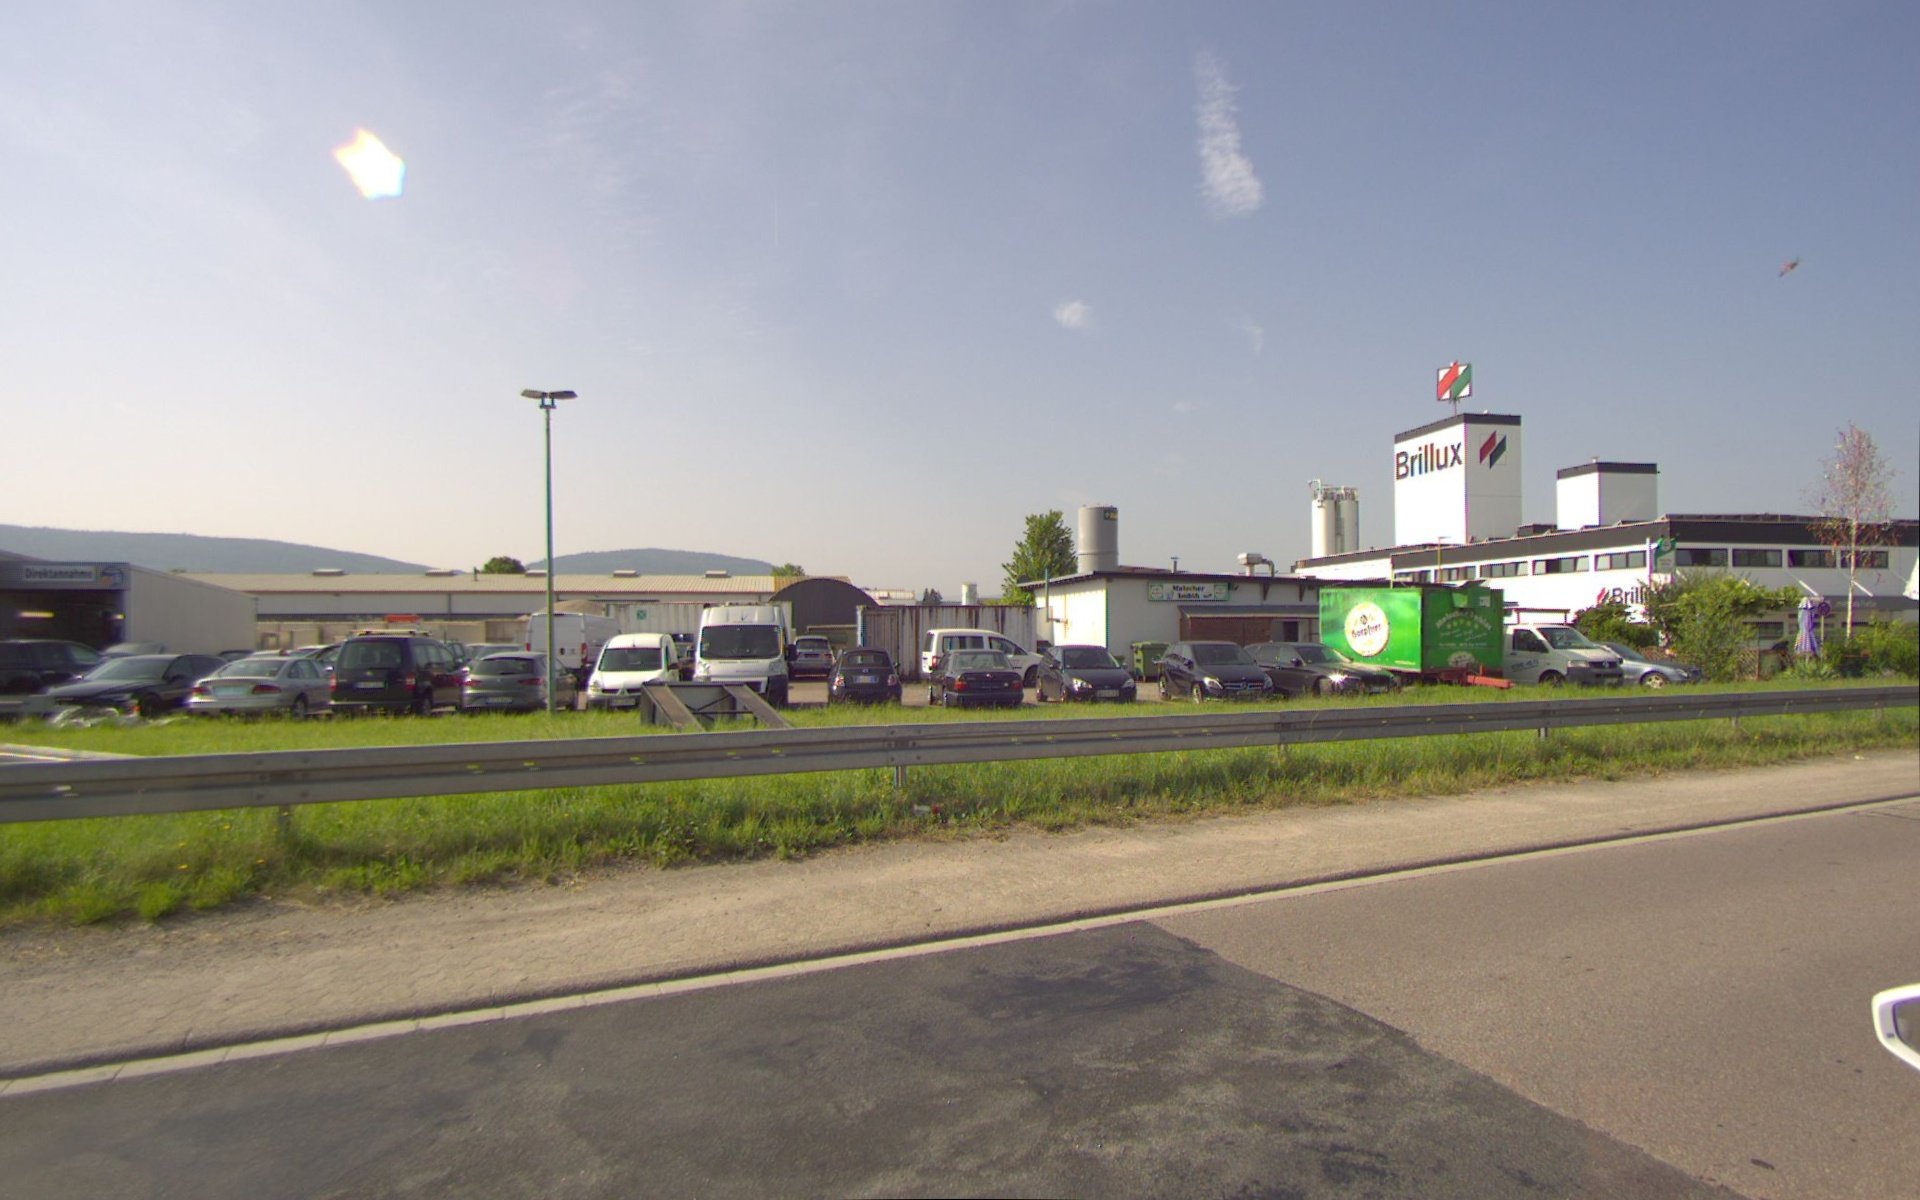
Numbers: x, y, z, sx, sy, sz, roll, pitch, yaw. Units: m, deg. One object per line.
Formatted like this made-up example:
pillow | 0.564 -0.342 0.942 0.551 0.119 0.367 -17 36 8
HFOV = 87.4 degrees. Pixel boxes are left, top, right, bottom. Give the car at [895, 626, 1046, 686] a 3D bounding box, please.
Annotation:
car | 0.292 1.762 31.857 4.447 1.699 1.996 2 0 -10

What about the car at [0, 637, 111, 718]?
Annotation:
car | -19.458 1.562 20.596 1.656 1.541 3.678 0 -3 -15

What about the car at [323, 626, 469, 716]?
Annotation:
car | -12.169 1.499 21.927 1.718 1.774 3.750 0 -3 -12

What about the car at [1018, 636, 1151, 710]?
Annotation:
car | 2.896 1.720 24.658 1.988 1.554 5.139 -1 -3 -7

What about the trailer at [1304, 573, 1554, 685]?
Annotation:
trailer | 12.229 0.848 26.951 2.804 2.638 6.315 0 -3 -12

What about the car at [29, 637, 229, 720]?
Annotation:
car | -17.149 1.572 20.994 1.656 1.541 3.989 0 -3 -15

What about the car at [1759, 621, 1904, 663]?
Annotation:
car | 38.539 1.849 44.605 2.111 1.775 4.662 0 -2 -5

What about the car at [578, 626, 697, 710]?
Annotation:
car | -7.227 1.508 22.916 1.773 1.685 4.399 -1 -3 -7

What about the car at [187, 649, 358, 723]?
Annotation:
car | -14.600 1.776 21.576 1.699 1.407 3.750 0 -3 -12

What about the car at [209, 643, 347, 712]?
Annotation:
car | -17.394 1.941 25.831 1.724 1.632 3.540 0 -3 -13

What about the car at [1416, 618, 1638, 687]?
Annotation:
car | 15.420 1.438 27.717 1.971 1.728 5.254 1 -3 -22

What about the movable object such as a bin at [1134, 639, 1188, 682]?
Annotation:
movable object such as a bin | 6.789 2.049 34.004 1.587 1.411 0.858 0 -3 -7

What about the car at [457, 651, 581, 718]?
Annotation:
car | -9.626 1.791 22.207 1.775 1.325 3.750 0 -3 -12

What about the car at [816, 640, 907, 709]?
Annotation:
car | -2.373 1.683 23.526 1.886 1.372 4.762 -1 -3 -7

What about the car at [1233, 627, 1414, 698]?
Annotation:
car | 8.942 1.536 25.335 2.137 1.554 5.139 -1 -3 -7

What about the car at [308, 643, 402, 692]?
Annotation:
car | -19.469 2.150 32.459 1.542 1.453 3.540 0 -3 -13

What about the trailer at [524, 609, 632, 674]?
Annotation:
trailer | -13.623 1.528 36.272 2.175 2.152 5.765 0 -3 -5

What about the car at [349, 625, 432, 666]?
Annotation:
car | -21.800 1.753 38.605 1.733 1.483 3.659 0 -3 -12

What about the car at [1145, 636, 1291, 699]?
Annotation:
car | 6.185 1.612 24.781 1.746 1.334 4.963 -1 -3 -7

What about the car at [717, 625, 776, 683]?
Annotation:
car | -8.045 2.047 38.170 1.964 2.040 3.995 0 -3 -9

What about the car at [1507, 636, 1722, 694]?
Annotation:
car | 18.604 1.799 28.760 1.944 1.530 4.790 1 -3 -36

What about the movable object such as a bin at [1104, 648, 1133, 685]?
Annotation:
movable object such as a bin | 5.355 2.232 33.997 0.793 1.225 0.634 0 -3 -7

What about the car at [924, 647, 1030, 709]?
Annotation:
car | 0.276 1.755 23.442 1.797 1.235 4.693 -1 -3 -7

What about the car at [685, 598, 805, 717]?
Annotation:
car | -4.880 1.317 23.547 2.251 2.403 5.402 -1 -3 -7

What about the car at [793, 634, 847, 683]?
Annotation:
car | -5.460 2.254 38.937 1.964 1.772 3.995 0 -3 -9
